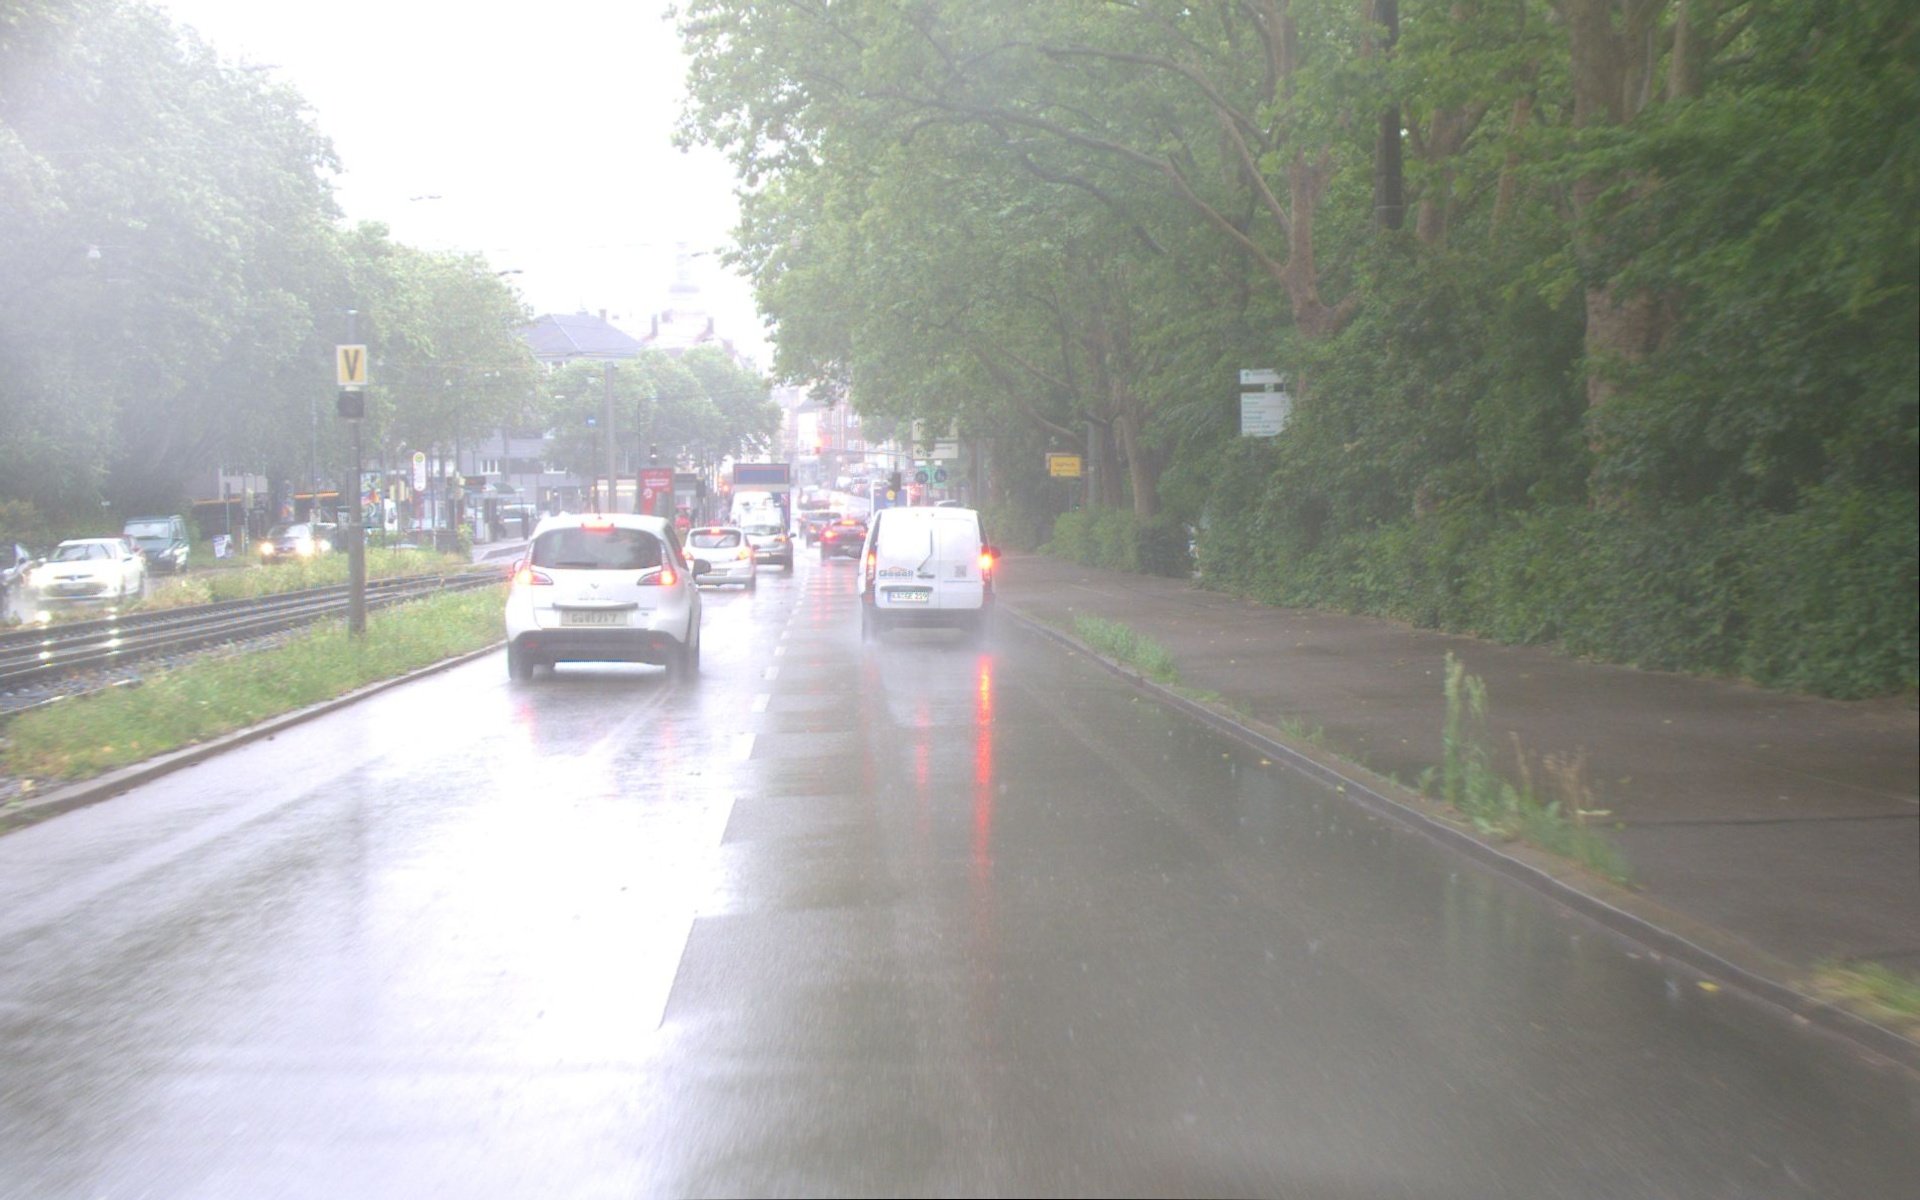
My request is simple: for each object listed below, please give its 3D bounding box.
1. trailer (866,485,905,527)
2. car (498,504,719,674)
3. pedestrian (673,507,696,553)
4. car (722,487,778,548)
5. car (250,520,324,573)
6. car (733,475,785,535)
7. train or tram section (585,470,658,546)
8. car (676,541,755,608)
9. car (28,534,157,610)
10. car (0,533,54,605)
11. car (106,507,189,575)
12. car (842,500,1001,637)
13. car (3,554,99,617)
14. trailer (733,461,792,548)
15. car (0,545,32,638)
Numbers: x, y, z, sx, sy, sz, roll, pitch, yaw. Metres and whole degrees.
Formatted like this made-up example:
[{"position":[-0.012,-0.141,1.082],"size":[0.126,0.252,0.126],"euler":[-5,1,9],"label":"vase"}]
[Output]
[{"position":[-4.253,-5.328,195.769],"size":[1.993,2.309,4.669],"euler":[0,1,-3],"label":"trailer"},{"position":[-3.526,-0.149,35.171],"size":[1.864,1.618,4.263],"euler":[0,1,-1],"label":"car"},{"position":[-10.389,-2.632,129.639],"size":[0.790,1.708,0.771],"euler":[2,0,-4],"label":"pedestrian"},{"position":[-8.989,-3.518,147.867],"size":[2.329,2.548,6.115],"euler":[0,1,-3],"label":"car"},{"position":[-23.313,-1.871,119.257],"size":[2.031,1.745,4.260],"euler":[-2,1,-5],"label":"car"},{"position":[-7.983,-3.765,136.966],"size":[1.993,2.254,5.289],"euler":[0,1,-3],"label":"car"},{"position":[-15.438,-4.241,157.194],"size":[2.961,3.274,8.362],"euler":[-2,2,-4],"label":"train or tram section"},{"position":[-5.525,-0.574,77.989],"size":[1.725,1.474,3.806],"euler":[0,1,-3],"label":"car"},{"position":[-19.160,-0.656,76.094],"size":[1.978,1.561,4.769],"euler":[-2,1,-5],"label":"car"},{"position":[-24.129,-0.778,85.977],"size":[2.031,1.745,4.695],"euler":[-2,1,-5],"label":"car"},{"position":[-26.237,-1.906,111.163],"size":[2.031,2.085,4.805],"euler":[-2,1,-7],"label":"car"},{"position":[-0.558,-0.424,46.209],"size":[1.959,1.771,3.570],"euler":[0,1,-3],"label":"car"},{"position":[-24.755,-0.416,93.768],"size":[2.031,1.652,4.611],"euler":[0,1,-8],"label":"car"},{"position":[-9.160,-4.427,158.858],"size":[2.590,3.886,7.638],"euler":[0,2,-4],"label":"trailer"},{"position":[-17.124,-0.107,57.801],"size":[2.033,1.547,4.567],"euler":[-2,1,-4],"label":"car"}]
